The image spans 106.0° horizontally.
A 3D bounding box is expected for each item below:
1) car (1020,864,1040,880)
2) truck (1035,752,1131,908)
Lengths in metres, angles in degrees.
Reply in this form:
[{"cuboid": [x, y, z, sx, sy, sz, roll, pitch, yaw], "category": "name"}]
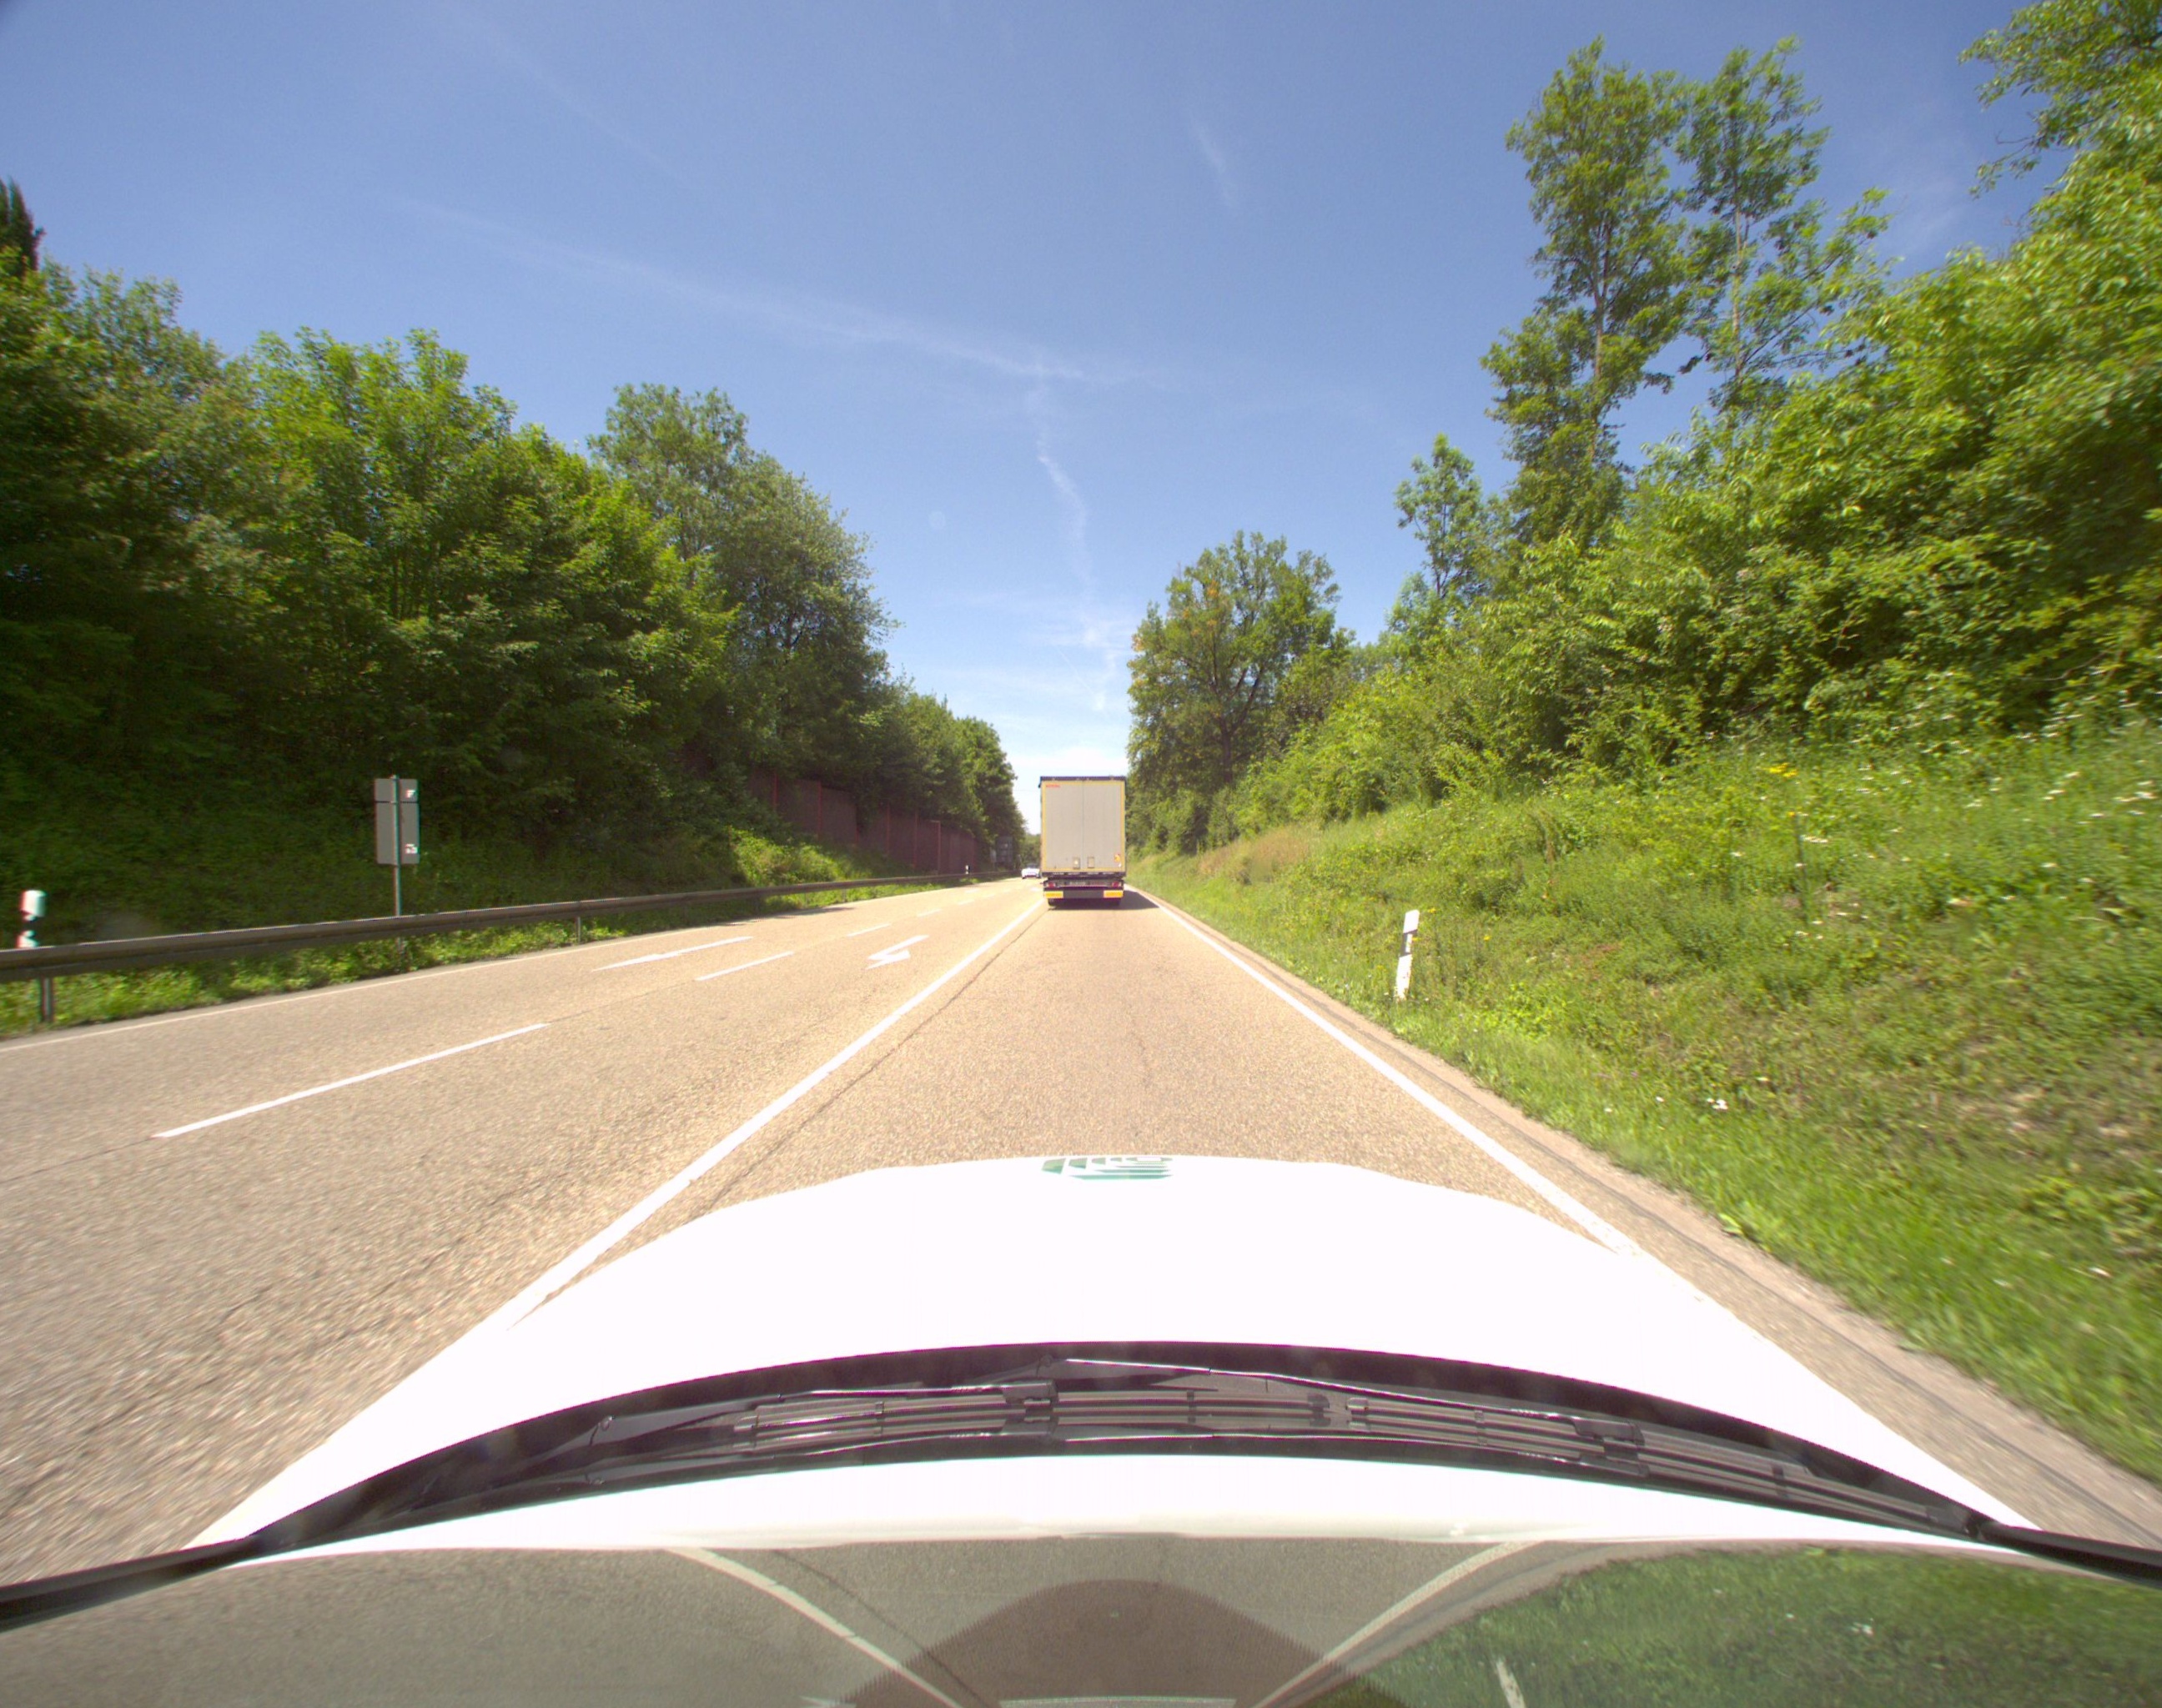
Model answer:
[{"cuboid": [-4.836, 1.685, 78.005, 1.802, 1.435, 3.867, -1, 0, -3], "category": "car"}, {"cuboid": [0.158, -0.721, 27.455, 2.812, 4.603, 6.667, 0, 0, 1], "category": "truck"}]
